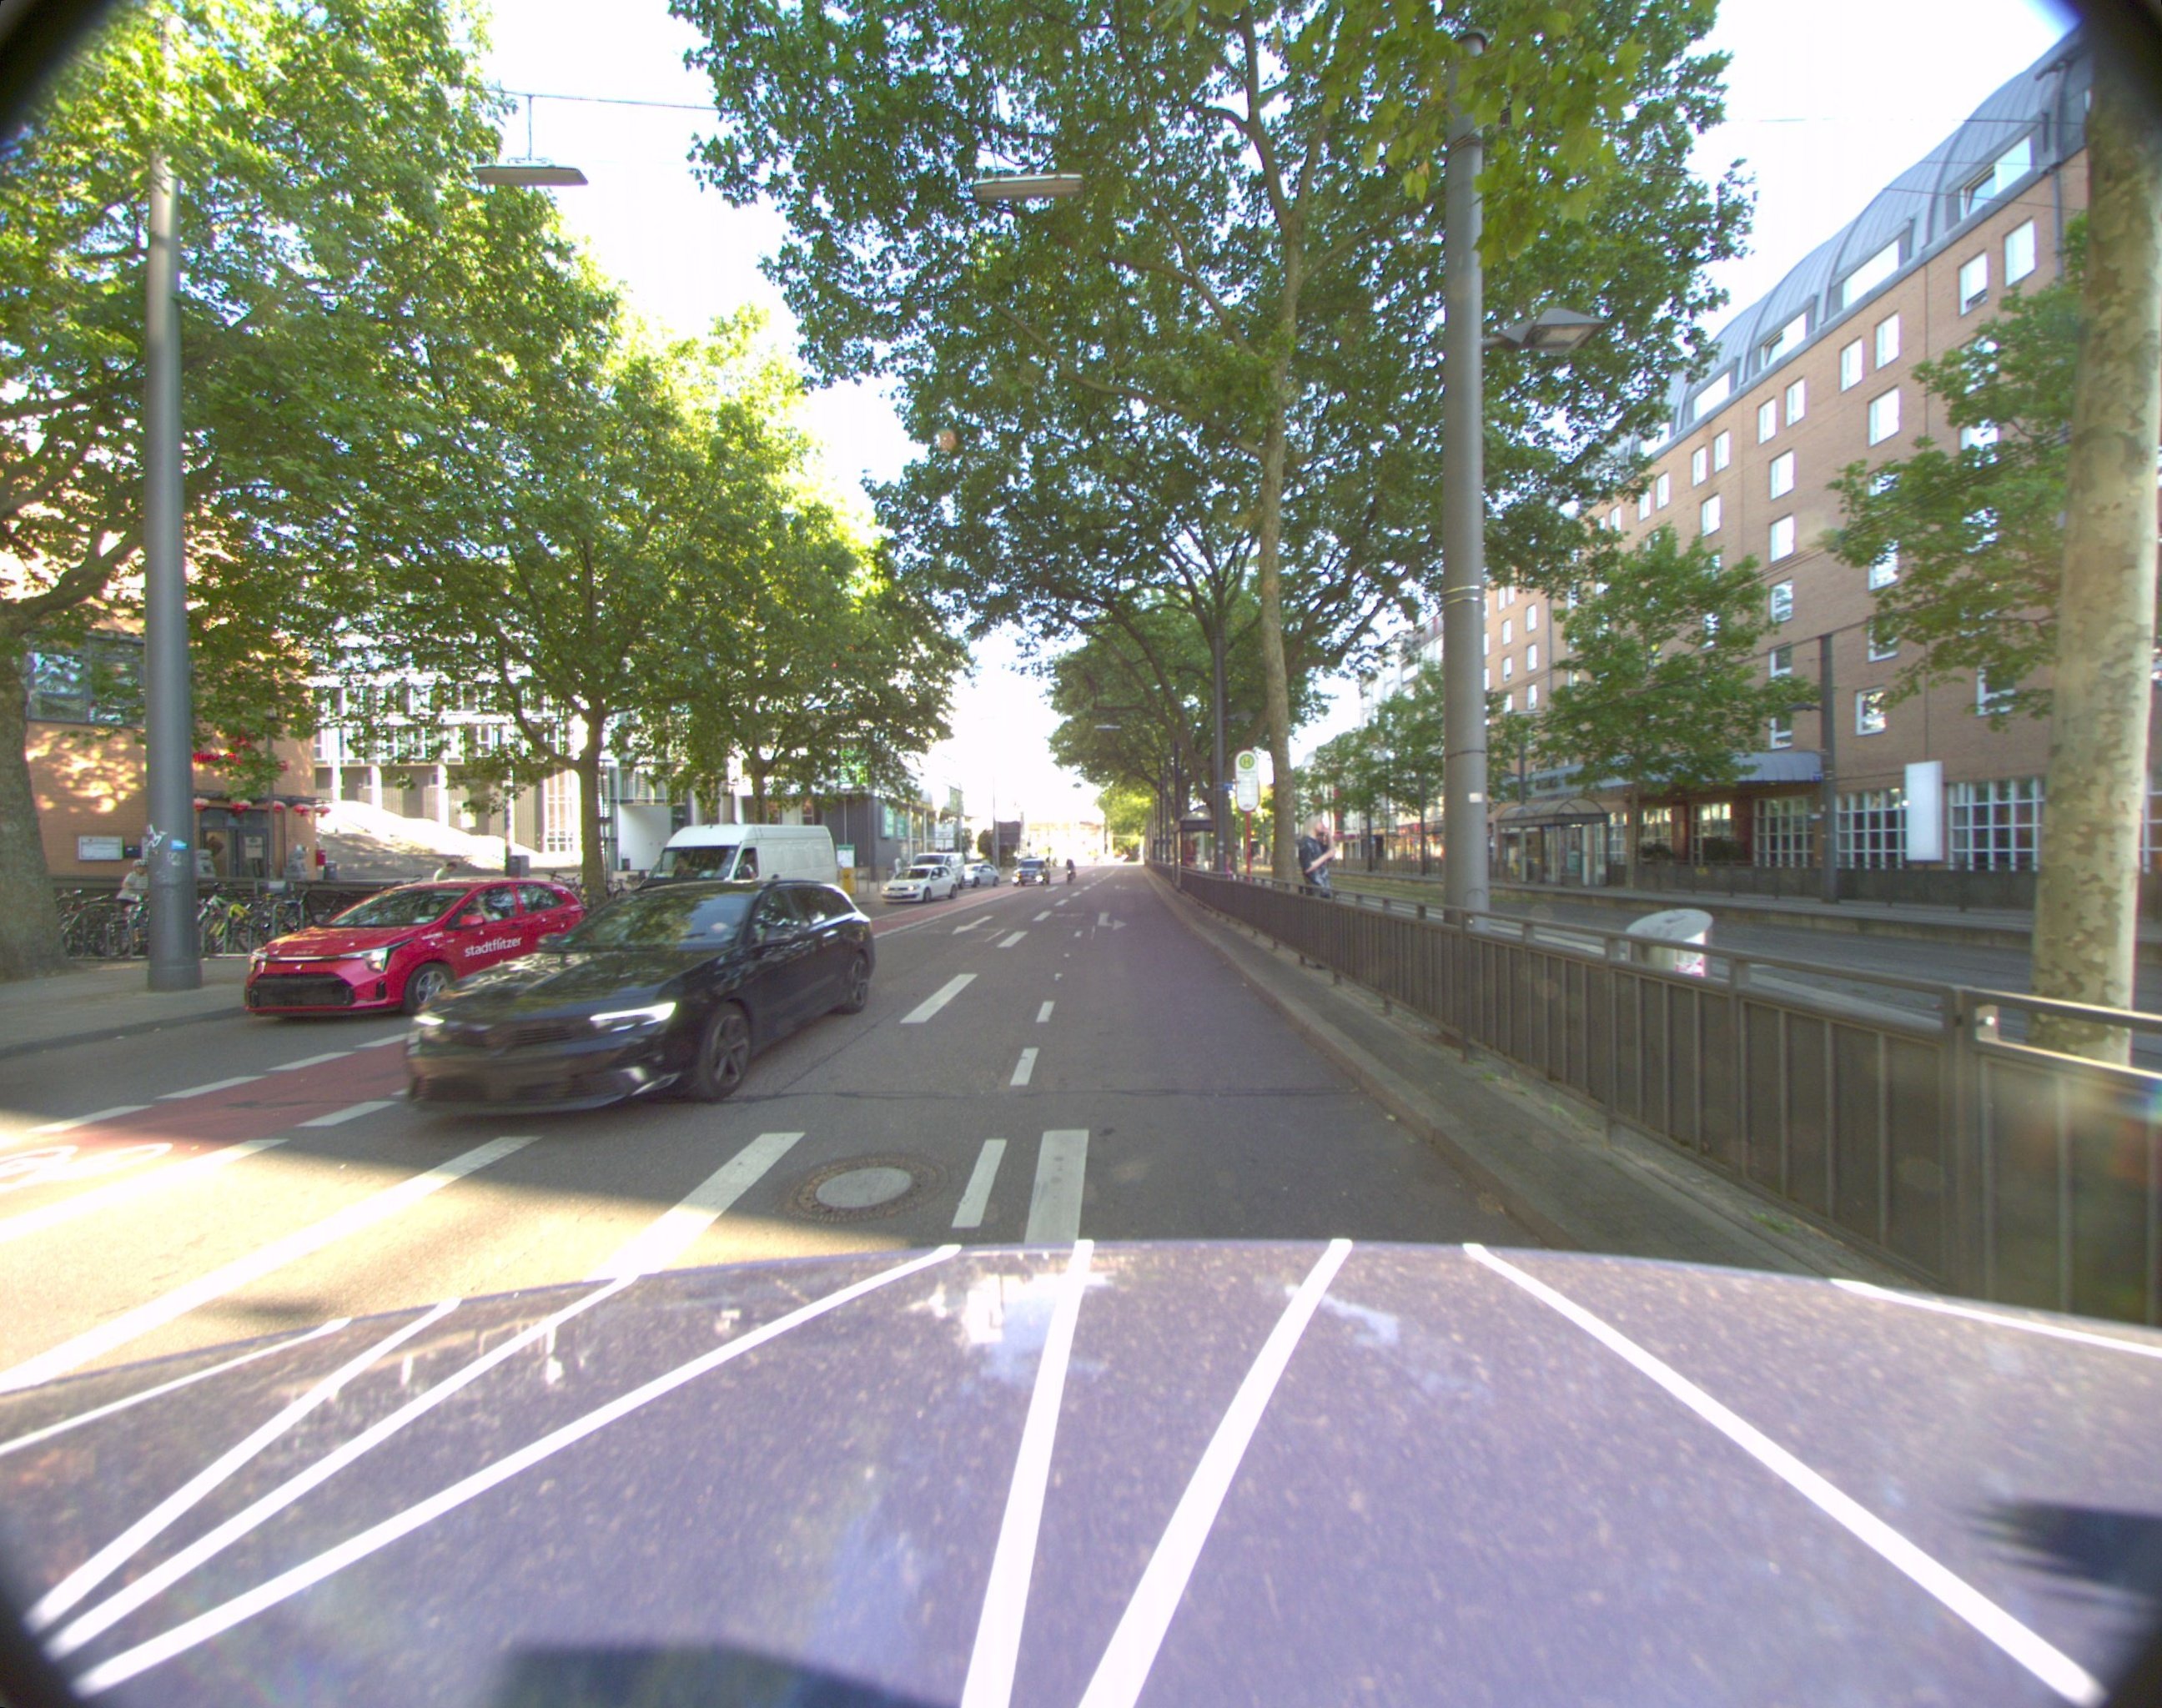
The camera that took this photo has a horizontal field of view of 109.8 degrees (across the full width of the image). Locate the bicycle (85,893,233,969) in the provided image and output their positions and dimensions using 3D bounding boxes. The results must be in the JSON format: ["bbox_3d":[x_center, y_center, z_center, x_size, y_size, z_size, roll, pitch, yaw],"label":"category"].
[{"bbox_3d":[-15.897,1.292,13.168,0.503,1.130,1.655,0,0,1],"label":"bicycle"}]

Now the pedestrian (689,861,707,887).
[{"bbox_3d":[-21.459,1.111,42.582,0.712,1.447,0.601,0,1,4],"label":"pedestrian"}]

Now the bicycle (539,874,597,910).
[{"bbox_3d":[-16.131,1.169,23.921,0.597,1.041,1.655,0,0,4],"label":"bicycle"}]

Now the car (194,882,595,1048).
[{"bbox_3d":[-7.956,1.166,9.332,1.562,1.455,3.621,-2,0,1],"label":"car"}]

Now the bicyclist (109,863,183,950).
[{"bbox_3d":[-18.106,0.985,14.721,0.562,1.607,0.823,0,1,34],"label":"bicyclist"}]

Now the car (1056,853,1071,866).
[{"bbox_3d":[-2.543,0.771,110.943,1.998,1.681,3.999,-2,1,1],"label":"car"}]

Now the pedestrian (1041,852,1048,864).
[{"bbox_3d":[-4.649,0.504,97.409,0.753,1.565,0.912,-1,1,6],"label":"pedestrian"}]

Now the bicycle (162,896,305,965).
[{"bbox_3d":[-14.601,1.287,13.157,0.597,1.026,1.655,0,0,1],"label":"bicycle"}]

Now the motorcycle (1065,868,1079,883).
[{"bbox_3d":[-0.516,1.270,45.127,0.667,0.843,2.223,0,0,4],"label":"motorcycle"}]

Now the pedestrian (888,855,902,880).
[{"bbox_3d":[-12.640,0.904,51.613,0.721,1.666,0.540,0,1,13],"label":"pedestrian"}]

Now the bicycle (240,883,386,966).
[{"bbox_3d":[-13.260,1.174,13.211,0.597,1.257,1.876,0,0,1],"label":"bicycle"}]

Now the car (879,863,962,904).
[{"bbox_3d":[-6.369,1.142,30.514,1.669,1.455,3.873,0,0,15],"label":"car"}]

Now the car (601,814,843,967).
[{"bbox_3d":[-7.575,0.661,17.130,1.998,2.708,6.562,-2,0,2],"label":"car"}]

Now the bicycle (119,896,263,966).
[{"bbox_3d":[-15.308,1.291,13.134,0.503,1.026,1.655,0,0,1],"label":"bicycle"}]

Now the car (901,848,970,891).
[{"bbox_3d":[-7.604,0.770,40.322,2.127,2.121,5.292,0,0,6],"label":"car"}]

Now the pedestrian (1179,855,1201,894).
[{"bbox_3d":[3.991,0.746,27.835,0.735,1.379,0.640,-2,1,6],"label":"pedestrian"}]

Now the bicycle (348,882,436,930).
[{"bbox_3d":[-17.745,1.308,19.619,0.596,1.119,1.656,0,0,9],"label":"bicycle"}]

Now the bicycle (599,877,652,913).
[{"bbox_3d":[-14.595,1.304,24.370,0.597,1.041,1.655,0,0,4],"label":"bicycle"}]

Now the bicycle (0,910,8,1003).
[{"bbox_3d":[-13.807,1.254,8.537,0.596,1.109,1.953,0,0,29],"label":"bicycle"}]

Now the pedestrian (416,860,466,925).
[{"bbox_3d":[-16.313,0.963,19.370,0.718,1.622,0.636,0,1,7],"label":"pedestrian"}]

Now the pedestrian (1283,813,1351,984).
[{"bbox_3d":[2.738,0.497,8.863,0.511,1.889,0.760,-2,1,2],"label":"pedestrian"}]

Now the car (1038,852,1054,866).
[{"bbox_3d":[-5.065,0.740,110.638,1.999,1.856,3.999,-2,1,-1],"label":"car"}]

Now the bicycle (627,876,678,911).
[{"bbox_3d":[-13.828,1.270,24.553,0.597,1.041,1.655,0,0,4],"label":"bicycle"}]

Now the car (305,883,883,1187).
[{"bbox_3d":[-3.215,1.075,6.297,1.827,1.416,4.346,-2,0,2],"label":"car"}]

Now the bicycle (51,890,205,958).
[{"bbox_3d":[-18.208,1.306,14.569,0.566,1.119,1.782,0,1,34],"label":"bicycle"}]

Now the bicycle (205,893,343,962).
[{"bbox_3d":[-13.925,1.239,13.175,0.597,1.026,1.655,0,0,1],"label":"bicycle"}]

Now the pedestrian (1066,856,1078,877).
[{"bbox_3d":[-0.526,0.743,45.025,0.665,1.218,0.775,0,1,4],"label":"pedestrian"}]

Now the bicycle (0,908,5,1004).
[{"bbox_3d":[-13.238,1.190,8.186,0.596,1.109,1.829,0,0,29],"label":"bicycle"}]

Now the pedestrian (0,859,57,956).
[{"bbox_3d":[-19.931,0.969,13.977,0.788,1.747,1.020,0,1,6],"label":"pedestrian"}]

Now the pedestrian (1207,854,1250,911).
[{"bbox_3d":[3.808,0.726,19.654,0.979,1.392,0.664,-2,1,6],"label":"pedestrian"}]

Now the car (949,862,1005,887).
[{"bbox_3d":[-6.333,1.211,46.806,1.783,1.411,4.027,0,0,19],"label":"car"}]

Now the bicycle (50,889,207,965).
[{"bbox_3d":[-16.409,1.225,13.160,0.479,1.153,1.694,0,0,5],"label":"bicycle"}]

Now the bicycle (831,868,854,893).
[{"bbox_3d":[-11.259,1.236,35.927,0.514,1.151,1.540,-1,0,3],"label":"bicycle"}]

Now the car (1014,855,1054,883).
[{"bbox_3d":[-2.866,0.908,47.080,1.785,1.628,4.023,0,0,7],"label":"car"}]
